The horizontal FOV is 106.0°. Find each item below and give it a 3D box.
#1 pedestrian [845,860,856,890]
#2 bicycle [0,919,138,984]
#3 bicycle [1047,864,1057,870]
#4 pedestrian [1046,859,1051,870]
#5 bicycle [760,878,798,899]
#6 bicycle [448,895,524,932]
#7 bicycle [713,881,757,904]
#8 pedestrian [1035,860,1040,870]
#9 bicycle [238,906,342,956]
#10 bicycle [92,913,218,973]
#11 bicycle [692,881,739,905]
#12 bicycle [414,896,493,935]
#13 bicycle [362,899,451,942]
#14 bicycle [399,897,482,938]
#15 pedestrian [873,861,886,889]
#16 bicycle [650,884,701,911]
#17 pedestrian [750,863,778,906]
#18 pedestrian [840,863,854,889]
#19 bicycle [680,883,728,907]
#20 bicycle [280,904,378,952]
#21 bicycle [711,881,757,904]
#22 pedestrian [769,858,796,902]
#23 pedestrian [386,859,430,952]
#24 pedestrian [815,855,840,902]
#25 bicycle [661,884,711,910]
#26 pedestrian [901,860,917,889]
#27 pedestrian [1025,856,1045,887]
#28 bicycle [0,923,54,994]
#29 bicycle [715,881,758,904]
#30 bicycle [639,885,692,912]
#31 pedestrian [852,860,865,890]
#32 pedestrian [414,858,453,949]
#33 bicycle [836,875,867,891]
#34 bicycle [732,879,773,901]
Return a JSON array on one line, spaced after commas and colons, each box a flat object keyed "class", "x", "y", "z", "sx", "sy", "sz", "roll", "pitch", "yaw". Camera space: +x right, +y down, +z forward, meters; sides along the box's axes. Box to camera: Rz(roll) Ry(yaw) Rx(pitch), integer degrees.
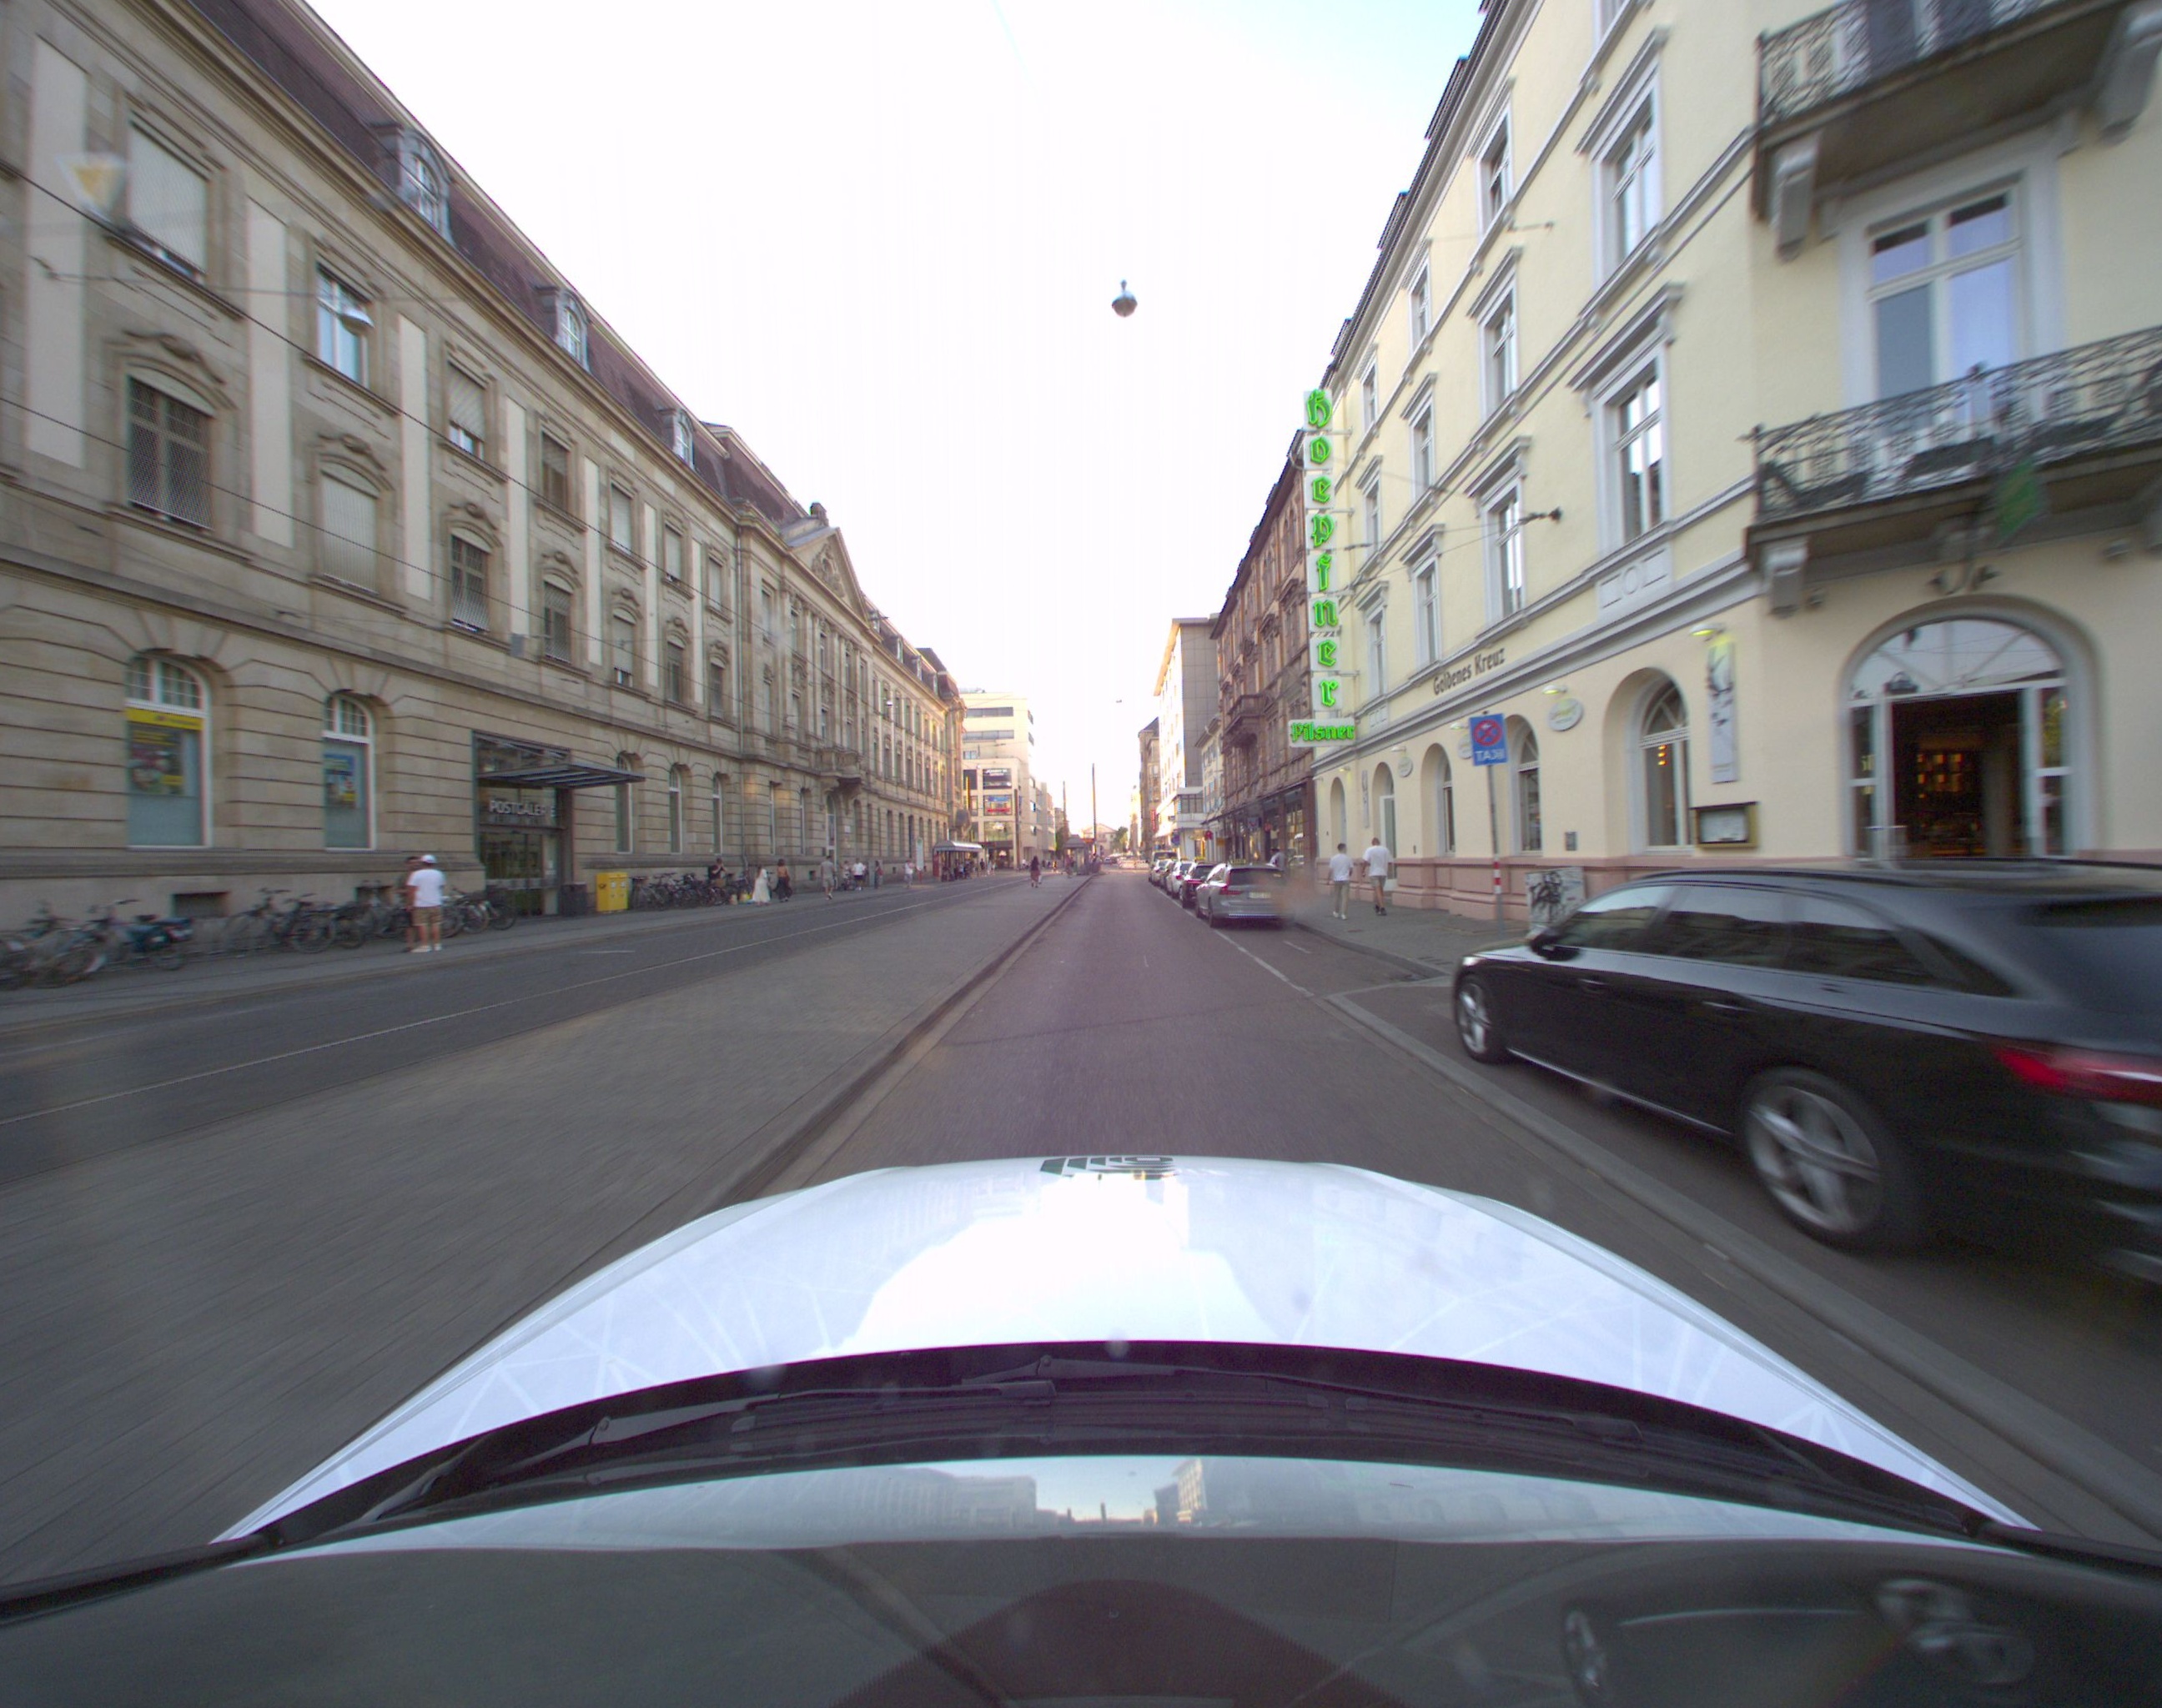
[{"class": "pedestrian", "x": -12.612, "y": 1.147, "z": 44.500, "sx": 0.333, "sy": 1.642, "sz": 0.607, "roll": -1, "pitch": -1, "yaw": 9}, {"class": "bicycle", "x": -14.532, "y": 1.388, "z": 11.701, "sx": 1.567, "sy": 0.874, "sz": 0.451, "roll": -1, "pitch": -1, "yaw": 6}, {"class": "bicycle", "x": -4.975, "y": 2.246, "z": 141.225, "sx": 1.688, "sy": 1.122, "sz": 0.451, "roll": -1, "pitch": -1, "yaw": 4}, {"class": "pedestrian", "x": -5.198, "y": 1.610, "z": 130.420, "sx": 0.779, "sy": 1.751, "sz": 0.600, "roll": 0, "pitch": -1, "yaw": -1}, {"class": "bicycle", "x": -13.462, "y": 1.536, "z": 36.310, "sx": 1.567, "sy": 0.874, "sz": 0.451, "roll": -1, "pitch": -1, "yaw": 6}, {"class": "bicycle", "x": -14.315, "y": 1.425, "z": 19.608, "sx": 1.567, "sy": 0.874, "sz": 0.451, "roll": -1, "pitch": -1, "yaw": 6}, {"class": "bicycle", "x": -13.441, "y": 1.492, "z": 31.658, "sx": 1.567, "sy": 0.874, "sz": 0.451, "roll": -1, "pitch": -1, "yaw": 6}, {"class": "pedestrian", "x": -7.063, "y": 1.793, "z": 131.528, "sx": 0.644, "sy": 1.674, "sz": 0.532, "roll": -2, "pitch": -1, "yaw": 10}, {"class": "bicycle", "x": -14.417, "y": 1.404, "z": 14.859, "sx": 1.567, "sy": 0.874, "sz": 0.451, "roll": -1, "pitch": -1, "yaw": 6}, {"class": "bicycle", "x": -14.358, "y": 1.369, "z": 12.640, "sx": 1.567, "sy": 0.874, "sz": 0.451, "roll": -1, "pitch": -1, "yaw": 6}, {"class": "bicycle", "x": -13.542, "y": 1.454, "z": 30.159, "sx": 1.567, "sy": 0.874, "sz": 0.451, "roll": -1, "pitch": -1, "yaw": 6}, {"class": "bicycle", "x": -14.550, "y": 1.416, "z": 18.895, "sx": 1.567, "sy": 0.874, "sz": 0.451, "roll": -1, "pitch": -1, "yaw": 6}, {"class": "bicycle", "x": -14.046, "y": 1.382, "z": 16.976, "sx": 1.567, "sy": 0.874, "sz": 0.451, "roll": -1, "pitch": -1, "yaw": 6}, {"class": "bicycle", "x": -14.133, "y": 1.398, "z": 17.973, "sx": 1.567, "sy": 0.874, "sz": 0.451, "roll": -1, "pitch": -1, "yaw": 6}, {"class": "pedestrian", "x": -11.439, "y": 1.195, "z": 46.317, "sx": 0.565, "sy": 1.605, "sz": 0.443, "roll": -1, "pitch": -1, "yaw": 28}, {"class": "bicycle", "x": -13.871, "y": 1.483, "z": 27.848, "sx": 1.567, "sy": 0.874, "sz": 0.451, "roll": -1, "pitch": -1, "yaw": 6}, {"class": "pedestrian", "x": -11.023, "y": 1.065, "z": 28.320, "sx": 0.689, "sy": 1.466, "sz": 0.556, "roll": -1, "pitch": -1, "yaw": 1}, {"class": "pedestrian", "x": -13.026, "y": 1.237, "z": 45.303, "sx": 0.435, "sy": 1.440, "sz": 0.575, "roll": -1, "pitch": -2, "yaw": 38}, {"class": "bicycle", "x": -13.674, "y": 1.481, "z": 29.526, "sx": 1.567, "sy": 0.874, "sz": 0.451, "roll": -1, "pitch": -1, "yaw": 6}, {"class": "bicycle", "x": -14.420, "y": 1.417, "z": 15.629, "sx": 1.567, "sy": 0.874, "sz": 0.451, "roll": -1, "pitch": -1, "yaw": 6}, {"class": "bicycle", "x": -13.169, "y": 1.463, "z": 30.912, "sx": 1.567, "sy": 0.874, "sz": 0.451, "roll": -1, "pitch": -1, "yaw": 6}, {"class": "pedestrian", "x": -11.743, "y": 1.006, "z": 32.076, "sx": 0.689, "sy": 1.712, "sz": 0.815, "roll": -1, "pitch": -1, "yaw": 2}, {"class": "pedestrian", "x": -12.451, "y": 0.939, "z": 15.068, "sx": 0.371, "sy": 1.673, "sz": 0.496, "roll": -1, "pitch": -1, "yaw": 25}, {"class": "pedestrian", "x": -9.935, "y": 0.938, "z": 31.916, "sx": 0.689, "sy": 1.813, "sz": 0.815, "roll": -1, "pitch": -1, "yaw": 2}, {"class": "bicycle", "x": -13.785, "y": 1.501, "z": 28.431, "sx": 1.567, "sy": 0.874, "sz": 0.451, "roll": -1, "pitch": -1, "yaw": 6}, {"class": "pedestrian", "x": -9.373, "y": 1.097, "z": 44.472, "sx": 0.657, "sy": 1.562, "sz": 0.680, "roll": -1, "pitch": -1, "yaw": 1}, {"class": "pedestrian", "x": -2.248, "y": 0.841, "z": 40.028, "sx": 0.843, "sy": 1.501, "sz": 0.901, "roll": -1, "pitch": -1, "yaw": 1}, {"class": "bicycle", "x": -14.596, "y": 1.374, "z": 10.782, "sx": 1.567, "sy": 0.874, "sz": 0.451, "roll": -1, "pitch": -1, "yaw": 6}, {"class": "bicycle", "x": -13.898, "y": 1.551, "z": 32.821, "sx": 1.567, "sy": 0.874, "sz": 0.451, "roll": -1, "pitch": -1, "yaw": 6}, {"class": "bicycle", "x": -13.866, "y": 1.473, "z": 27.201, "sx": 1.567, "sy": 0.874, "sz": 0.451, "roll": -1, "pitch": -1, "yaw": 6}, {"class": "pedestrian", "x": -12.151, "y": 1.159, "z": 44.491, "sx": 0.473, "sy": 1.642, "sz": 0.564, "roll": -1, "pitch": -1, "yaw": 8}, {"class": "pedestrian", "x": -11.892, "y": 0.900, "z": 14.958, "sx": 0.371, "sy": 1.631, "sz": 0.496, "roll": -2, "pitch": -2, "yaw": 42}, {"class": "bicycle", "x": -12.375, "y": 1.553, "z": 43.906, "sx": 1.567, "sy": 0.874, "sz": 0.451, "roll": -1, "pitch": -1, "yaw": 6}, {"class": "bicycle", "x": -13.876, "y": 1.520, "z": 34.447, "sx": 1.567, "sy": 0.874, "sz": 0.451, "roll": -1, "pitch": -1, "yaw": 6}]
